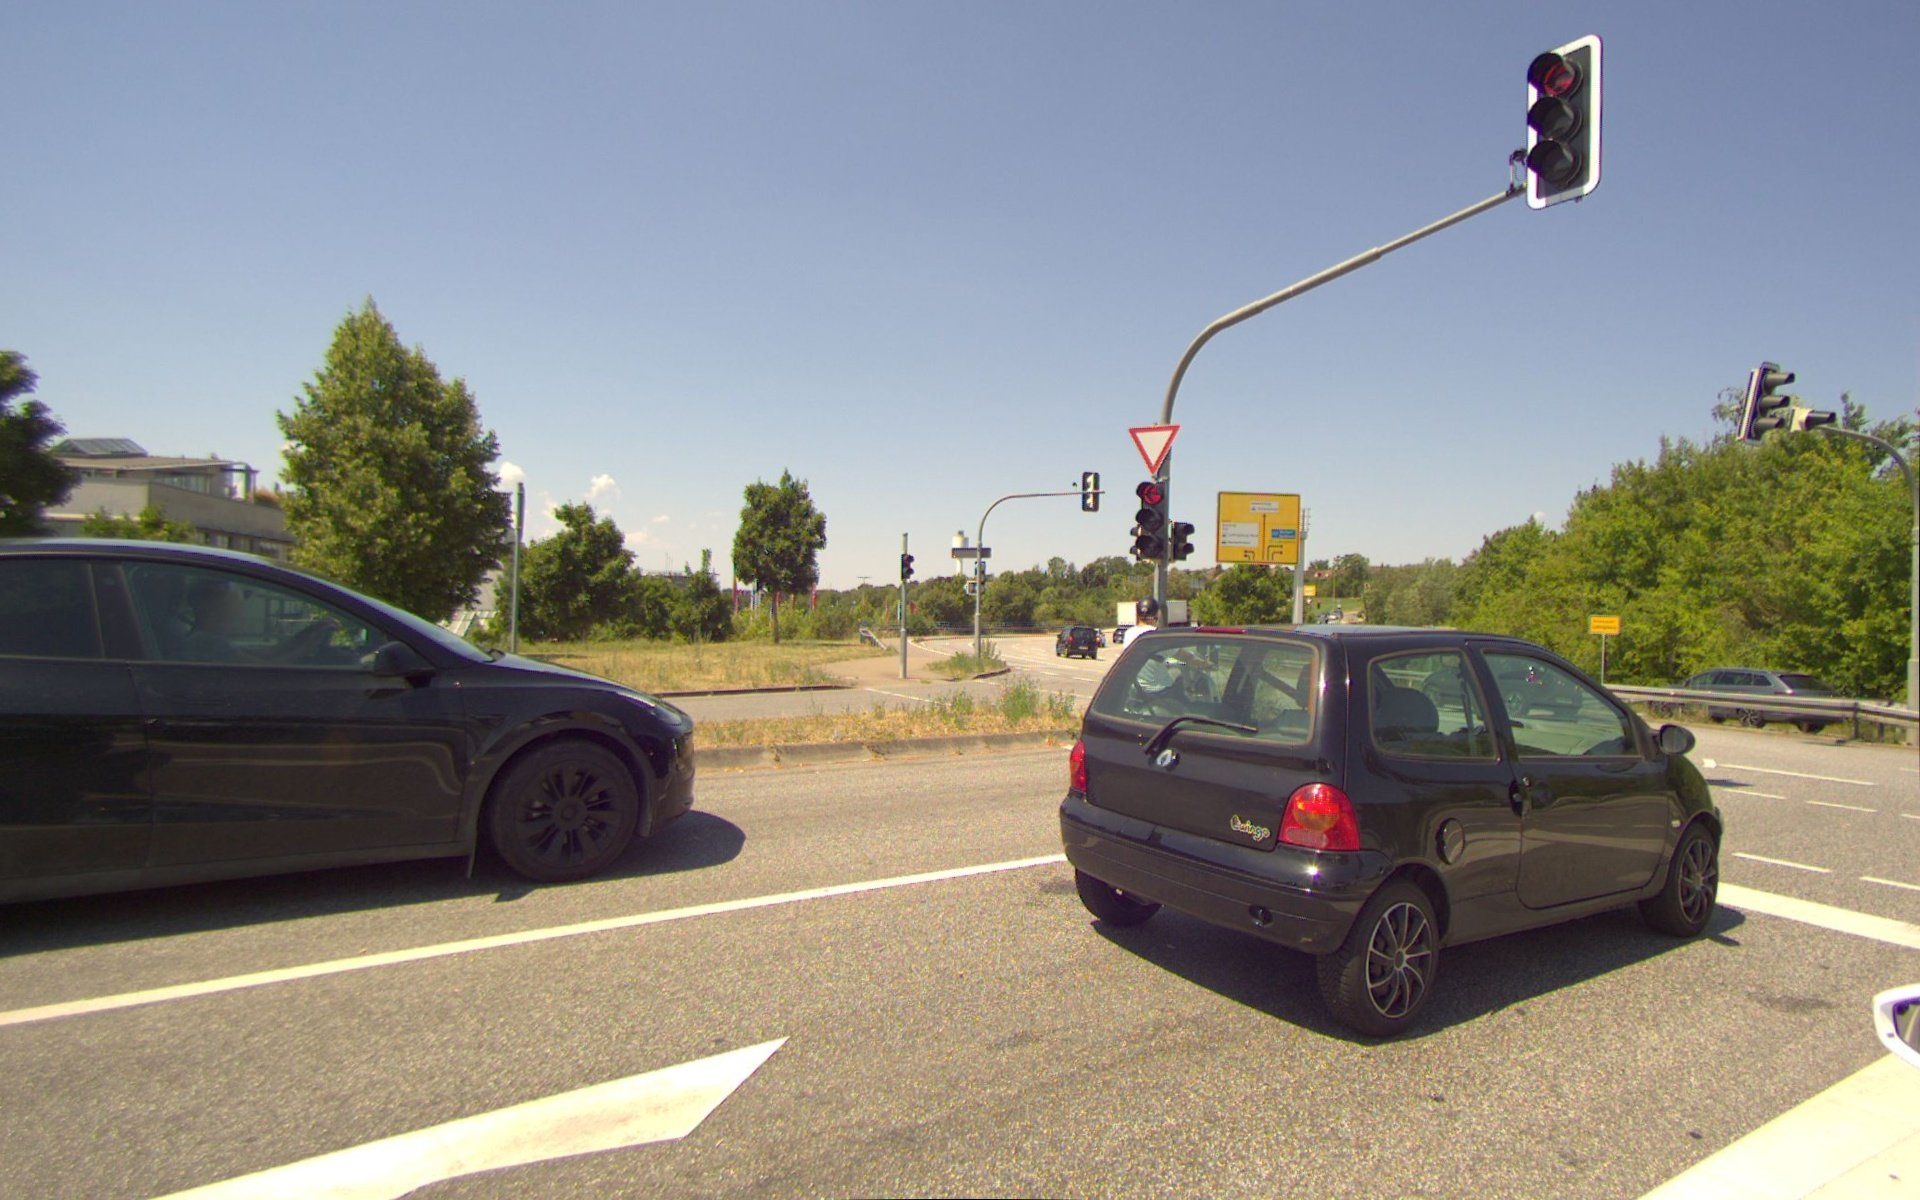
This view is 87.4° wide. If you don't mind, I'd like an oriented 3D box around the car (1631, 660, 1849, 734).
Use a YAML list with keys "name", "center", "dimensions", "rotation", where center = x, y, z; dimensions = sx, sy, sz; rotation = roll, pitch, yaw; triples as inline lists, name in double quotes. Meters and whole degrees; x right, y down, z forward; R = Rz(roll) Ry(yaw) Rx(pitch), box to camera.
- name: "car"
  center: [20.100, 2.448, 26.172]
  dimensions: [1.779, 1.452, 4.406]
  rotation: [5, -2, -10]

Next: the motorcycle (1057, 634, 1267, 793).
- name: "motorcycle"
  center: [1.805, 0.958, 8.840]
  dimensions: [1.920, 1.255, 0.573]
  rotation: [3, -1, -33]

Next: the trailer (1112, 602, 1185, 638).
- name: "trailer"
  center: [24.676, 2.511, 130.518]
  dimensions: [3.188, 4.305, 15.356]
  rotation: [1, 0, 35]

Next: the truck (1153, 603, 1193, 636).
- name: "truck"
  center: [29.012, 2.582, 136.786]
  dimensions: [3.188, 4.305, 6.216]
  rotation: [1, 1, 35]

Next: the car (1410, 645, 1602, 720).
- name: "car"
  center: [13.139, 1.953, 24.446]
  dimensions: [1.783, 1.452, 3.913]
  rotation: [5, -2, -17]

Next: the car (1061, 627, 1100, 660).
- name: "car"
  center: [6.893, 2.490, 57.910]
  dimensions: [1.848, 1.755, 4.002]
  rotation: [2, -1, 2]

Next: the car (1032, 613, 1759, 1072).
- name: "car"
  center: [2.130, 0.814, 4.737]
  dimensions: [3.265, 1.426, 1.610]
  rotation: [2, -1, -33]

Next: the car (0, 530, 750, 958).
- name: "car"
  center: [-3.518, 0.556, 5.011]
  dimensions: [4.459, 1.622, 1.863]
  rotation: [2, 0, -34]

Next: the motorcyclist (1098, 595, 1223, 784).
- name: "motorcyclist"
  center: [1.757, 0.758, 8.818]
  dimensions: [0.838, 1.560, 0.608]
  rotation: [3, 0, -33]
